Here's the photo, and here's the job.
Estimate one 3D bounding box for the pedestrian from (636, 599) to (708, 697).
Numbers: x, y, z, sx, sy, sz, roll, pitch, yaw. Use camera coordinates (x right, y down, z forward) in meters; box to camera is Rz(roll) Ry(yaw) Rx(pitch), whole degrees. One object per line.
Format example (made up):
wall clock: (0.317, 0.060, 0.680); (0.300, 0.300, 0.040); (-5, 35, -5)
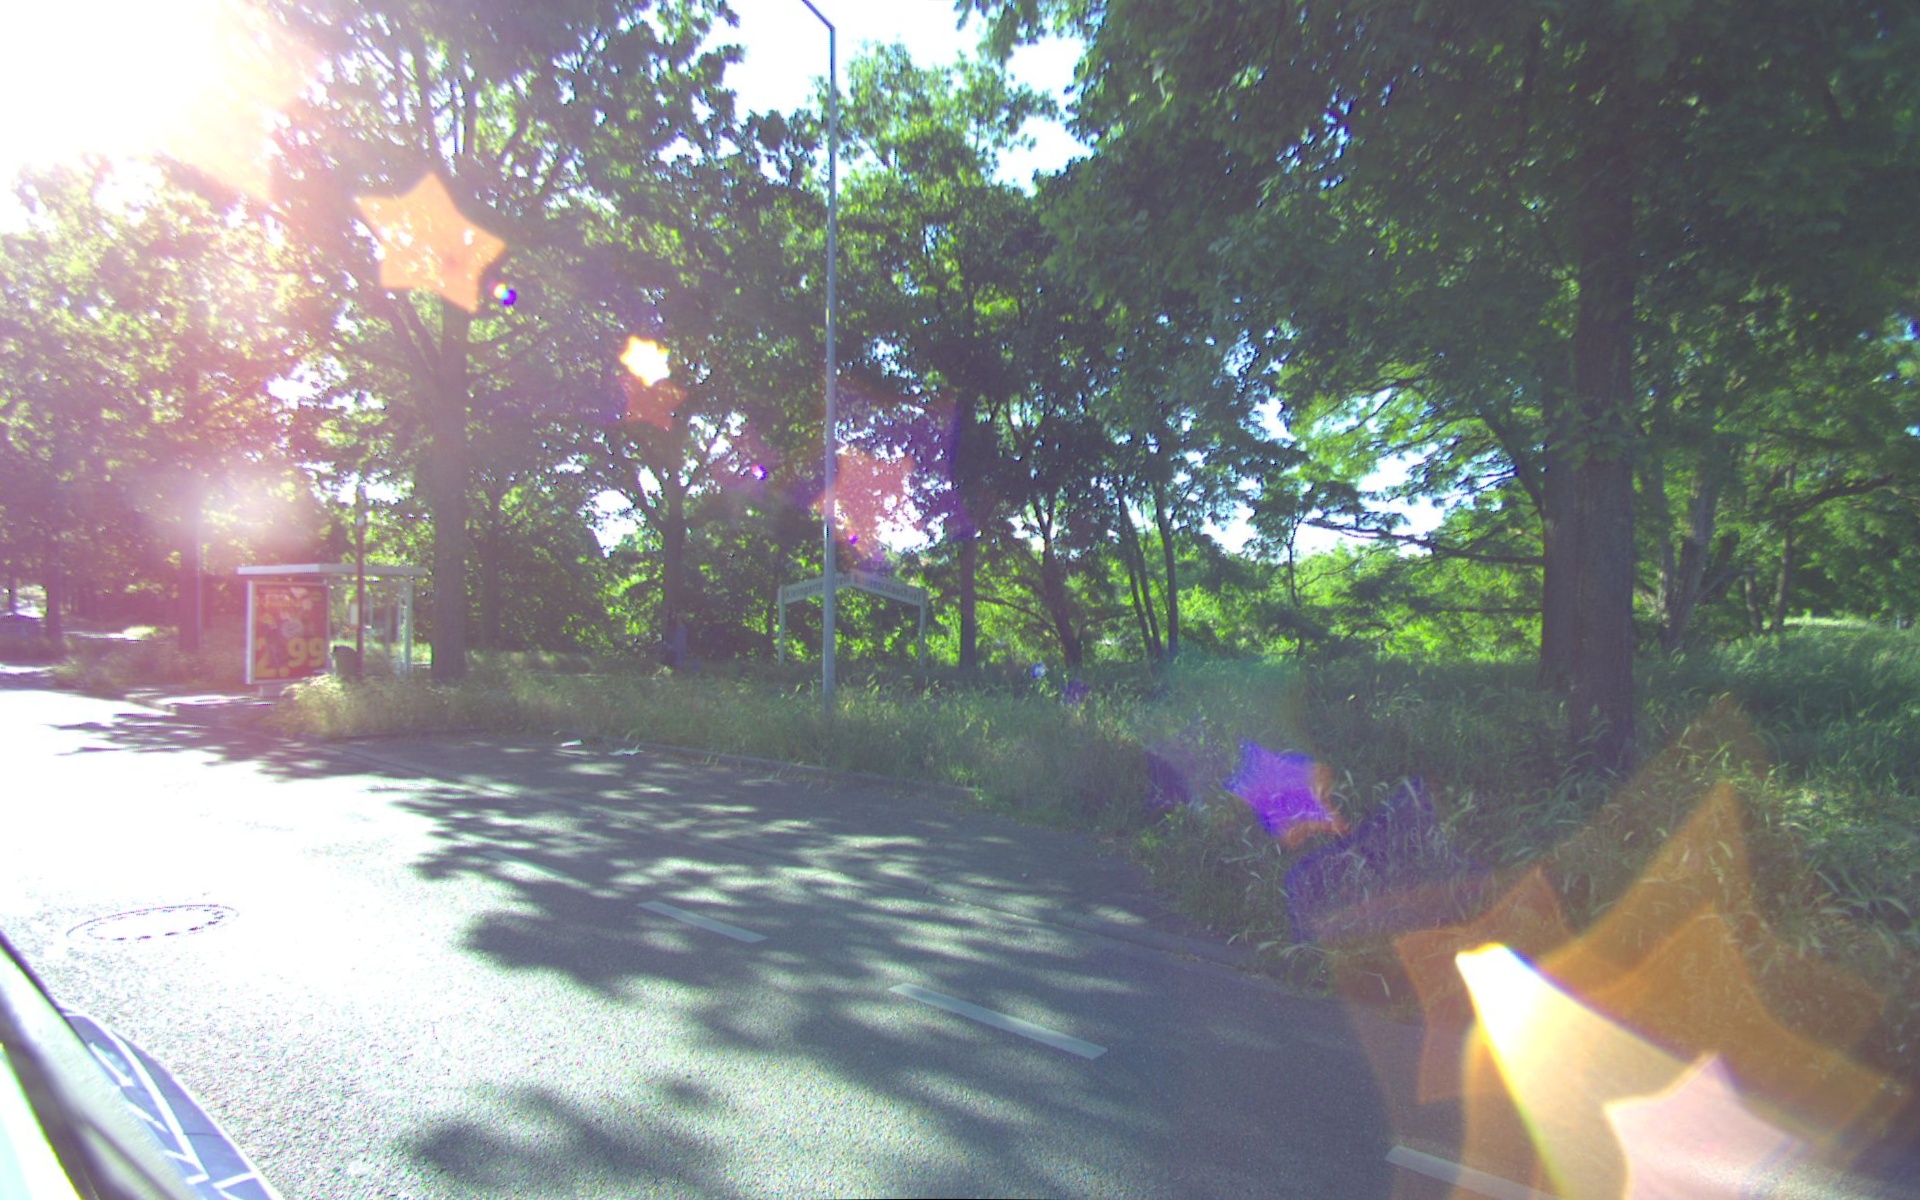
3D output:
pedestrian: (-5.200, 0.845, 18.286); (0.891, 1.701, 0.903); (-2, -1, 42)
